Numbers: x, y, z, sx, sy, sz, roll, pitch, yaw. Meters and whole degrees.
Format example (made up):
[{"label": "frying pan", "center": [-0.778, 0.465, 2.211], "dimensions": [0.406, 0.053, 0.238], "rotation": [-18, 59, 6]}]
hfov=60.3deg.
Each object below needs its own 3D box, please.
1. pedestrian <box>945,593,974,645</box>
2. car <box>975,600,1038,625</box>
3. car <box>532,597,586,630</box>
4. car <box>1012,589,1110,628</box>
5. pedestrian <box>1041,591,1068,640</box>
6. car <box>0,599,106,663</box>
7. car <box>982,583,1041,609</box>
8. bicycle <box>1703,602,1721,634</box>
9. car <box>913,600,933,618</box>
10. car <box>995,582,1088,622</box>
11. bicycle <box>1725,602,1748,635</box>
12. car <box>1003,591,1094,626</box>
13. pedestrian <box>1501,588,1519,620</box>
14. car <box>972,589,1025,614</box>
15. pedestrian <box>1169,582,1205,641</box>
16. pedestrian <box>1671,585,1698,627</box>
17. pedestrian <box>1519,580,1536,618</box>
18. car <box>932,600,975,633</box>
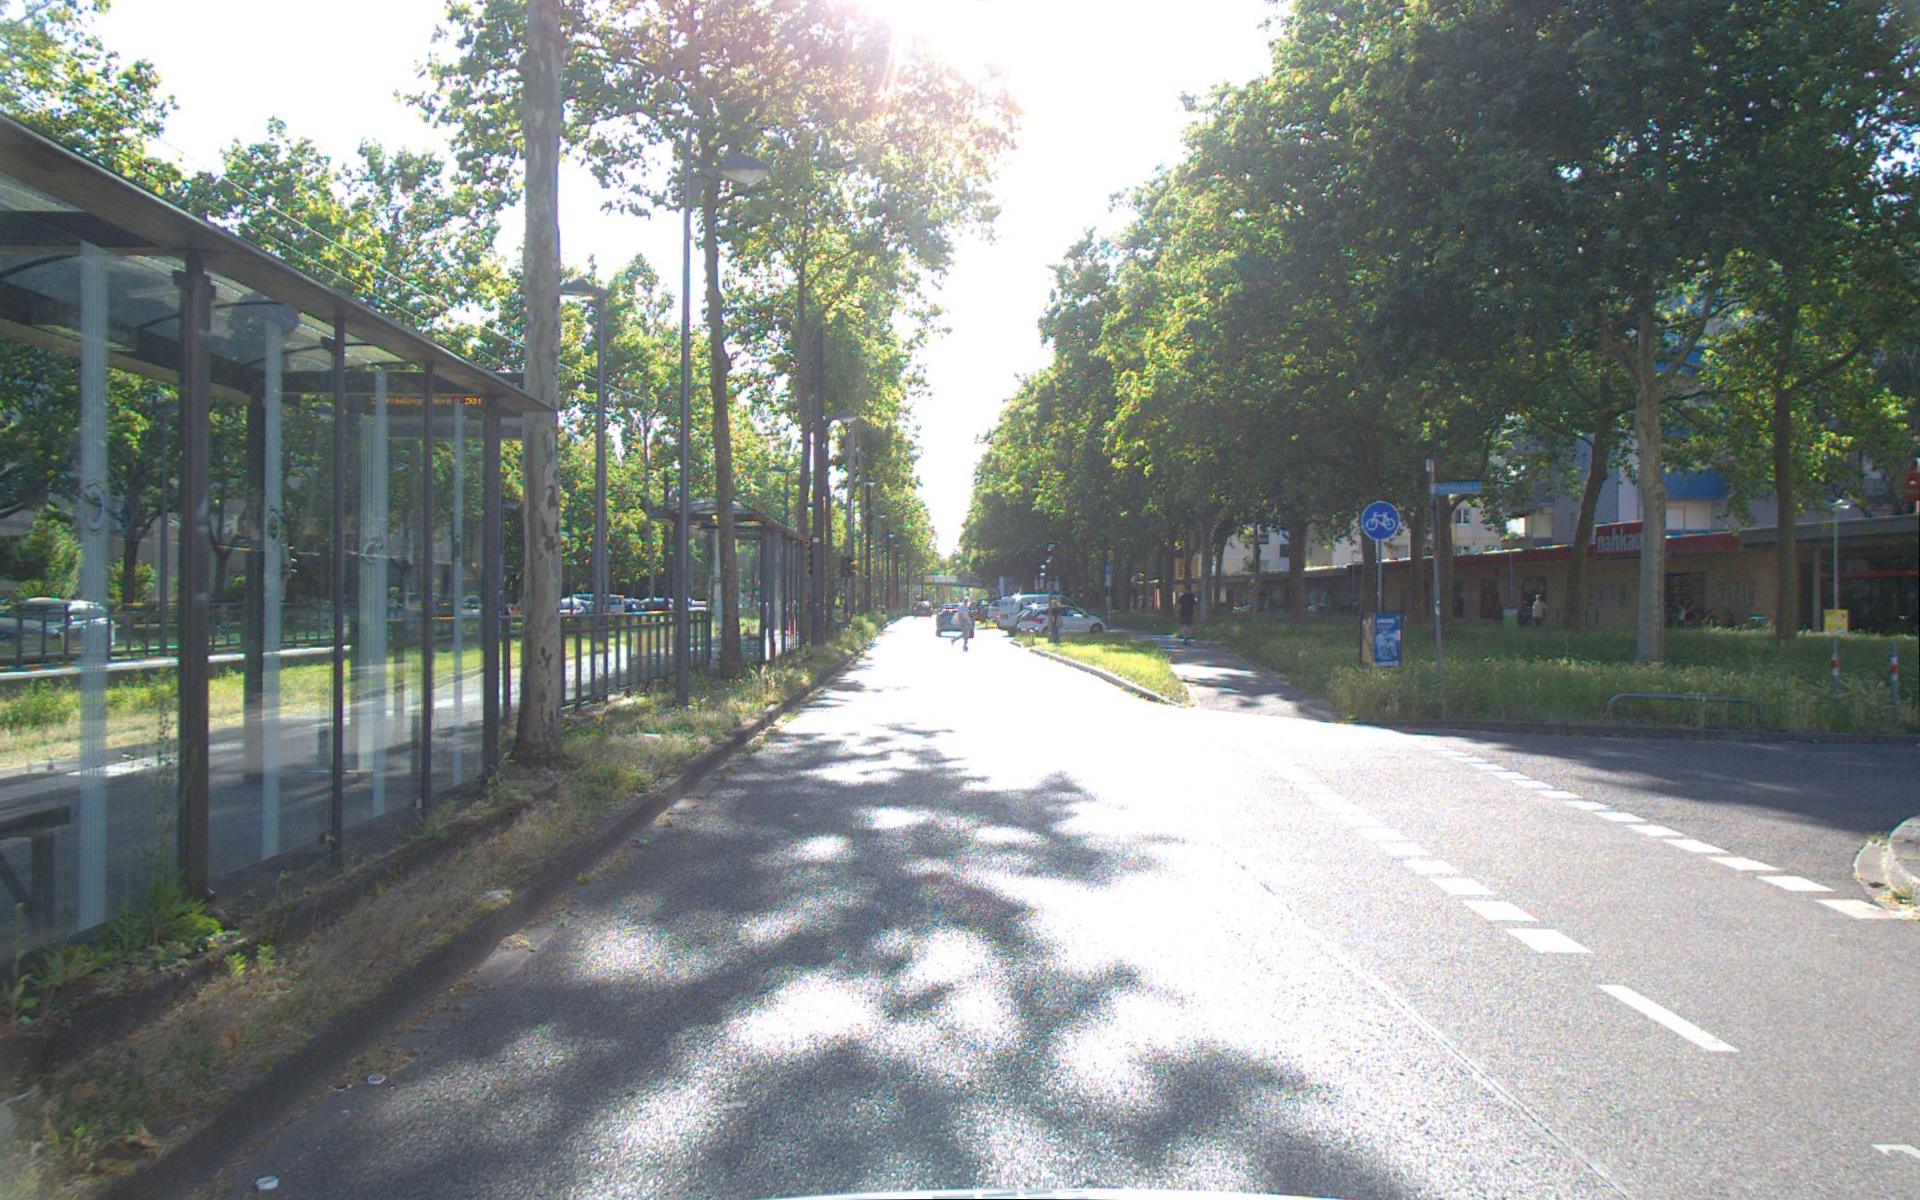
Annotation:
[{"label": "pedestrian", "center": [-0.025, 0.646, 56.368], "dimensions": [0.824, 1.752, 0.831], "rotation": [0, 0, 14]}, {"label": "car", "center": [2.806, 0.737, 99.216], "dimensions": [1.561, 1.397, 3.910], "rotation": [-1, 0, 45]}, {"label": "car", "center": [-19.703, 0.634, 81.401], "dimensions": [1.678, 1.573, 3.933], "rotation": [0, 0, 1]}, {"label": "car", "center": [4.337, 0.377, 70.949], "dimensions": [3.949, 1.495, 1.741], "rotation": [-3, 1, -33]}, {"label": "pedestrian", "center": [3.377, 0.561, 59.021], "dimensions": [0.704, 1.736, 0.646], "rotation": [-1, -1, -36]}, {"label": "car", "center": [-24.016, 0.756, 42.769], "dimensions": [1.679, 1.573, 4.200], "rotation": [0, 0, 0]}, {"label": "car", "center": [3.579, -0.291, 113.768], "dimensions": [3.995, 1.735, 1.733], "rotation": [-1, 0, -43]}, {"label": "bicycle", "center": [28.727, 0.676, 63.163], "dimensions": [0.585, 1.200, 1.849], "rotation": [1, 0, 26]}, {"label": "car", "center": [-3.287, 0.818, 147.566], "dimensions": [1.812, 1.562, 3.865], "rotation": [0, 0, -1]}, {"label": "car", "center": [4.036, 0.081, 81.066], "dimensions": [4.630, 1.885, 1.803], "rotation": [-1, 0, -42]}, {"label": "bicycle", "center": [28.943, 0.678, 61.641], "dimensions": [0.585, 1.200, 1.851], "rotation": [1, 0, 20]}, {"label": "car", "center": [4.175, 0.385, 77.706], "dimensions": [3.949, 1.454, 1.779], "rotation": [-3, 1, -33]}, {"label": "pedestrian", "center": [24.923, 0.168, 74.951], "dimensions": [0.521, 1.455, 0.715], "rotation": [0, 1, -7]}, {"label": "car", "center": [3.001, 0.096, 127.403], "dimensions": [4.049, 1.842, 1.626], "rotation": [-1, 0, -42]}, {"label": "pedestrian", "center": [7.436, 0.371, 54.201], "dimensions": [0.920, 1.918, 0.788], "rotation": [0, 0, -40]}, {"label": "pedestrian", "center": [27.760, 0.217, 63.363], "dimensions": [0.658, 1.612, 0.715], "rotation": [0, 1, -7]}, {"label": "pedestrian", "center": [25.779, -0.065, 75.177], "dimensions": [0.485, 1.730, 0.715], "rotation": [0, 1, -7]}, {"label": "car", "center": [-0.322, 0.758, 77.290], "dimensions": [1.883, 1.436, 3.999], "rotation": [1, 0, -2]}]
